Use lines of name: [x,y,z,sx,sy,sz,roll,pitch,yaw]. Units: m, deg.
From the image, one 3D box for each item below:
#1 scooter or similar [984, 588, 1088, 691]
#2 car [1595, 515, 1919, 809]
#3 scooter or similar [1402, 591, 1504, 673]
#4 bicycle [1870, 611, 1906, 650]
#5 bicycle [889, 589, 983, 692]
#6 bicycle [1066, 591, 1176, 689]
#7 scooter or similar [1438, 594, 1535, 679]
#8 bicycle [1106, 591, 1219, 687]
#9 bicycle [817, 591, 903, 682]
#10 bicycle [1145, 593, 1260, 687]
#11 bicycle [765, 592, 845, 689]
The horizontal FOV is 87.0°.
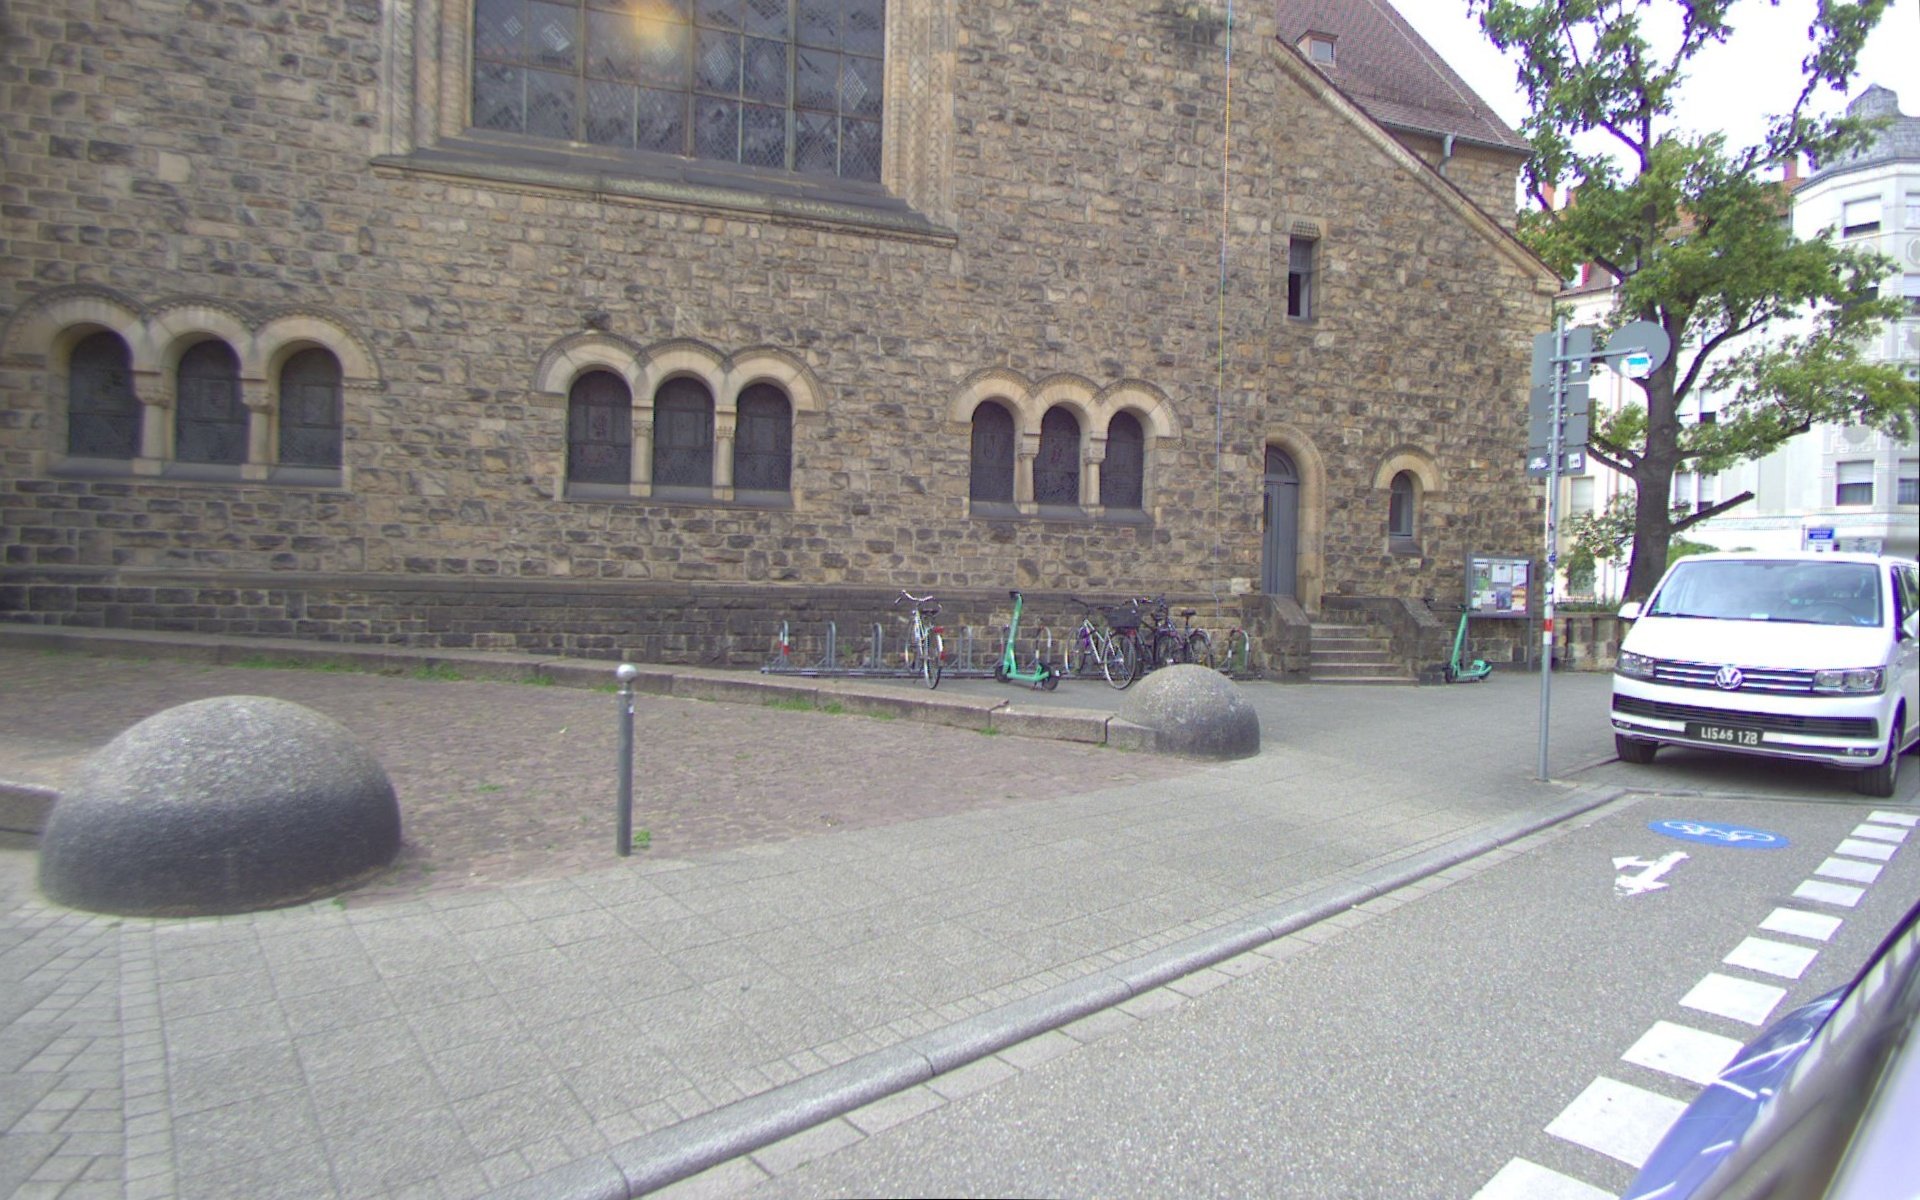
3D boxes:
scooter or similar: [0.917,0.456,12.691,0.534,1.154,1.786,1,1,-22]
car: [7.941,0.412,9.494,5.035,2.054,2.018,1,2,-42]
scooter or similar: [7.703,0.498,15.809,1.450,1.222,0.547,1,1,-21]
bicycle: [27.461,0.897,29.942,1.943,1.119,0.523,1,0,-40]
bicycle: [-0.328,0.456,12.445,0.534,1.125,1.786,1,1,-22]
bicycle: [2.037,0.476,13.045,0.534,1.125,1.786,1,1,-22]
scooter or similar: [7.879,0.537,15.147,1.413,1.222,0.547,1,1,-28]
bicycle: [2.607,0.473,13.247,0.534,1.125,1.779,1,1,-22]
bicycle: [-1.238,0.408,12.227,0.534,0.969,1.786,1,1,-22]
bicycle: [3.193,0.497,13.496,0.534,1.125,1.786,1,1,-22]
bicycle: [-1.875,0.439,12.039,0.534,0.969,1.787,1,3,-22]
